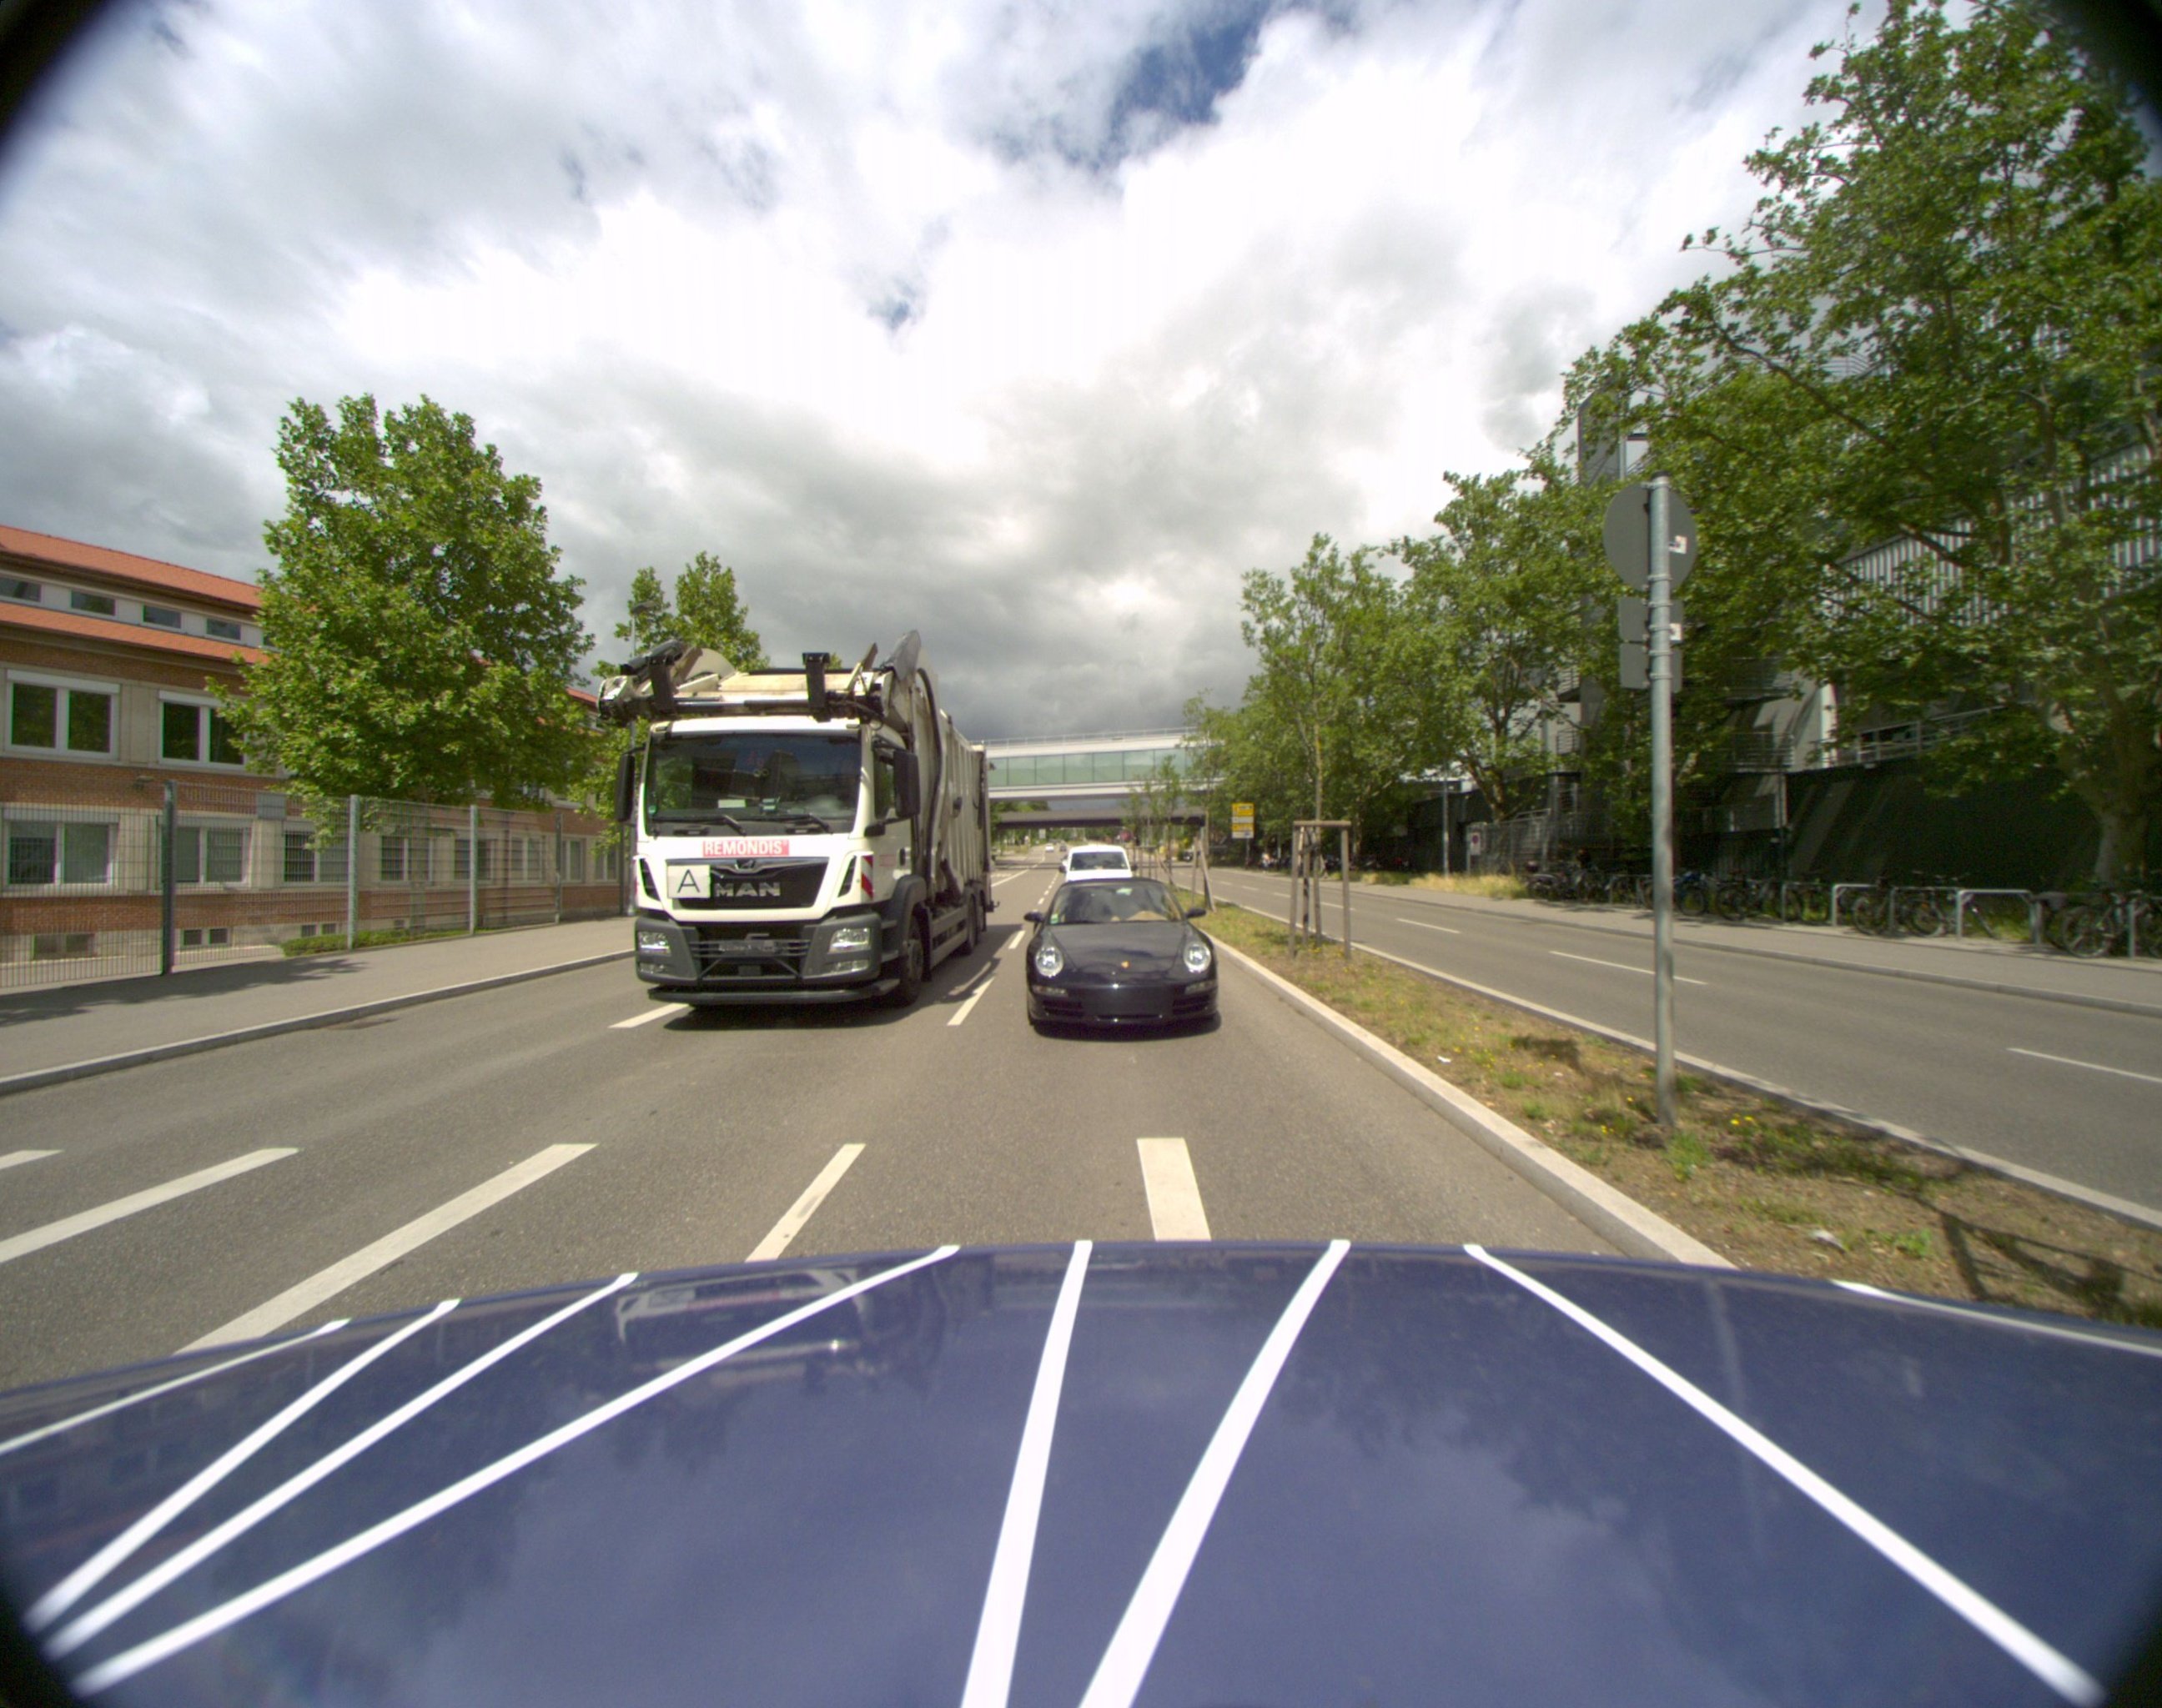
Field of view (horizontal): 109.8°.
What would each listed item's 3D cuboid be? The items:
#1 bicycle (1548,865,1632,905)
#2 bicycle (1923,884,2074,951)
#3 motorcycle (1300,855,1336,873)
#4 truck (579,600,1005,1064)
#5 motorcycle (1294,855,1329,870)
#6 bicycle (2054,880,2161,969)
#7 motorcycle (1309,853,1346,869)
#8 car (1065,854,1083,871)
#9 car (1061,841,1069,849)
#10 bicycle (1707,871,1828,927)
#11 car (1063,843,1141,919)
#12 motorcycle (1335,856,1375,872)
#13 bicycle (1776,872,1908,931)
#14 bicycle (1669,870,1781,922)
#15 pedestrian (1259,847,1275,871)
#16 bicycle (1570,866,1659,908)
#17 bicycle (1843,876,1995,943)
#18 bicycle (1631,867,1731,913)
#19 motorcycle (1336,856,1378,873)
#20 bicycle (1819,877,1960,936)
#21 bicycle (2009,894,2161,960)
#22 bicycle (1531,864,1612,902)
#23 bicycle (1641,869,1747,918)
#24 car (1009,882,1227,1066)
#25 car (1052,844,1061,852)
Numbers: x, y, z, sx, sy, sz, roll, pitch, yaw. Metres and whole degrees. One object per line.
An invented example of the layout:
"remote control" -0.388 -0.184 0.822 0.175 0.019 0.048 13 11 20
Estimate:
"bicycle" 14.745 0.906 22.029 2.129 1.104 0.382 -1 1 3
"bicycle" 14.746 1.017 12.227 1.993 0.992 0.382 -1 1 -1
"motorcycle" 15.353 0.634 49.153 2.133 1.131 0.534 -1 0 1
"truck" -2.971 -0.237 11.604 2.495 3.890 10.172 -2 1 0
"motorcycle" 15.314 0.552 50.547 2.133 0.963 0.534 -1 0 1
"bicycle" 14.347 0.931 10.245 1.993 1.121 0.382 -1 1 -1
"motorcycle" 15.479 0.416 47.794 2.133 0.963 0.534 -1 0 1
"car" -0.736 0.865 78.217 1.747 1.647 3.545 -1 0 -1
"car" -4.061 -2.356 198.193 1.862 1.800 4.357 -3 0 1
"bicycle" 14.493 0.947 16.068 2.129 1.104 0.382 -1 1 3
"car" 0.540 0.650 20.820 1.862 1.800 4.906 -1 0 1
"motorcycle" 15.977 0.576 44.264 2.133 0.880 0.534 -1 0 1
"bicycle" 15.034 0.930 15.029 2.129 1.104 0.382 -1 1 3
"bicycle" 14.472 0.936 17.092 2.129 1.104 0.382 -1 1 3
"pedestrian" 13.180 0.362 53.849 0.900 1.710 0.673 -1 1 1
"bicycle" 14.815 0.919 21.106 2.129 1.104 0.382 -1 1 3
"bicycle" 14.571 0.960 13.228 2.129 1.089 0.382 -1 1 3
"bicycle" 15.057 0.899 19.094 2.129 1.104 0.382 -1 1 3
"motorcycle" 15.402 0.559 42.359 2.133 0.893 0.534 -1 0 1
"bicycle" 15.004 0.972 14.122 2.129 1.025 0.382 -1 1 3
"bicycle" 14.949 1.075 11.248 1.993 0.885 0.382 -1 1 -1
"bicycle" 14.741 0.869 22.870 2.129 1.104 0.382 -1 1 3
"bicycle" 14.497 0.928 17.979 2.129 1.104 0.382 -1 1 3
"car" 0.320 1.032 7.978 1.710 1.280 3.806 -1 0 1
"car" -6.112 -1.560 192.707 1.925 2.082 4.657 -1 0 2
